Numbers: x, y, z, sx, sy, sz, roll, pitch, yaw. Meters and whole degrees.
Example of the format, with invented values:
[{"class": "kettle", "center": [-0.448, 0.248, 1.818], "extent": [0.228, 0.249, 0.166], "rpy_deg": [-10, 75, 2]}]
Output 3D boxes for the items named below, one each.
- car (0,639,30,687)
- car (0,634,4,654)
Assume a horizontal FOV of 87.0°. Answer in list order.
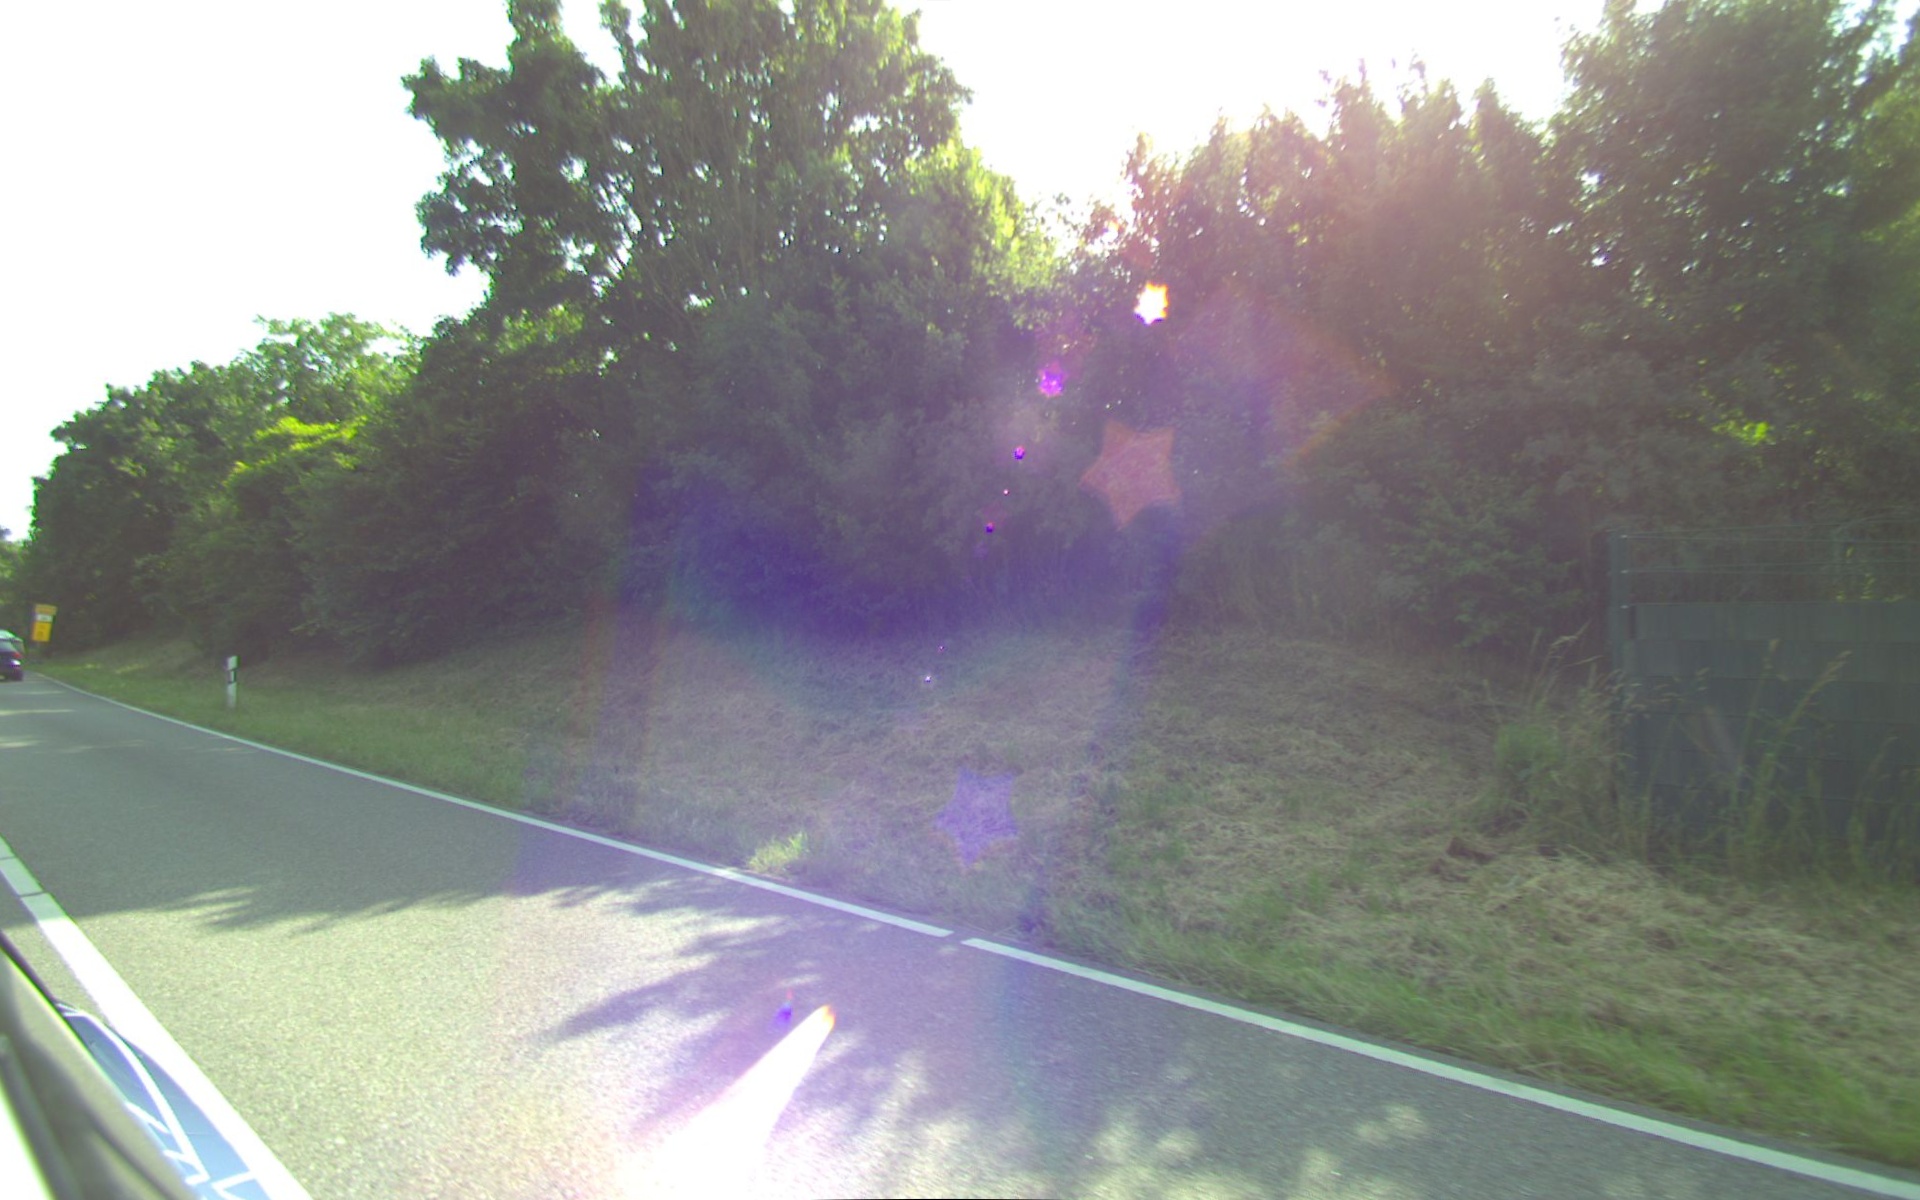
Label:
[{"class": "car", "center": [-31.035, 1.962, 31.953], "extent": [4.573, 1.434, 1.851], "rpy_deg": [-2, -4, 40]}, {"class": "car", "center": [-75.148, 3.393, 77.216], "extent": [1.919, 1.614, 4.635], "rpy_deg": [0, -2, -27]}]
